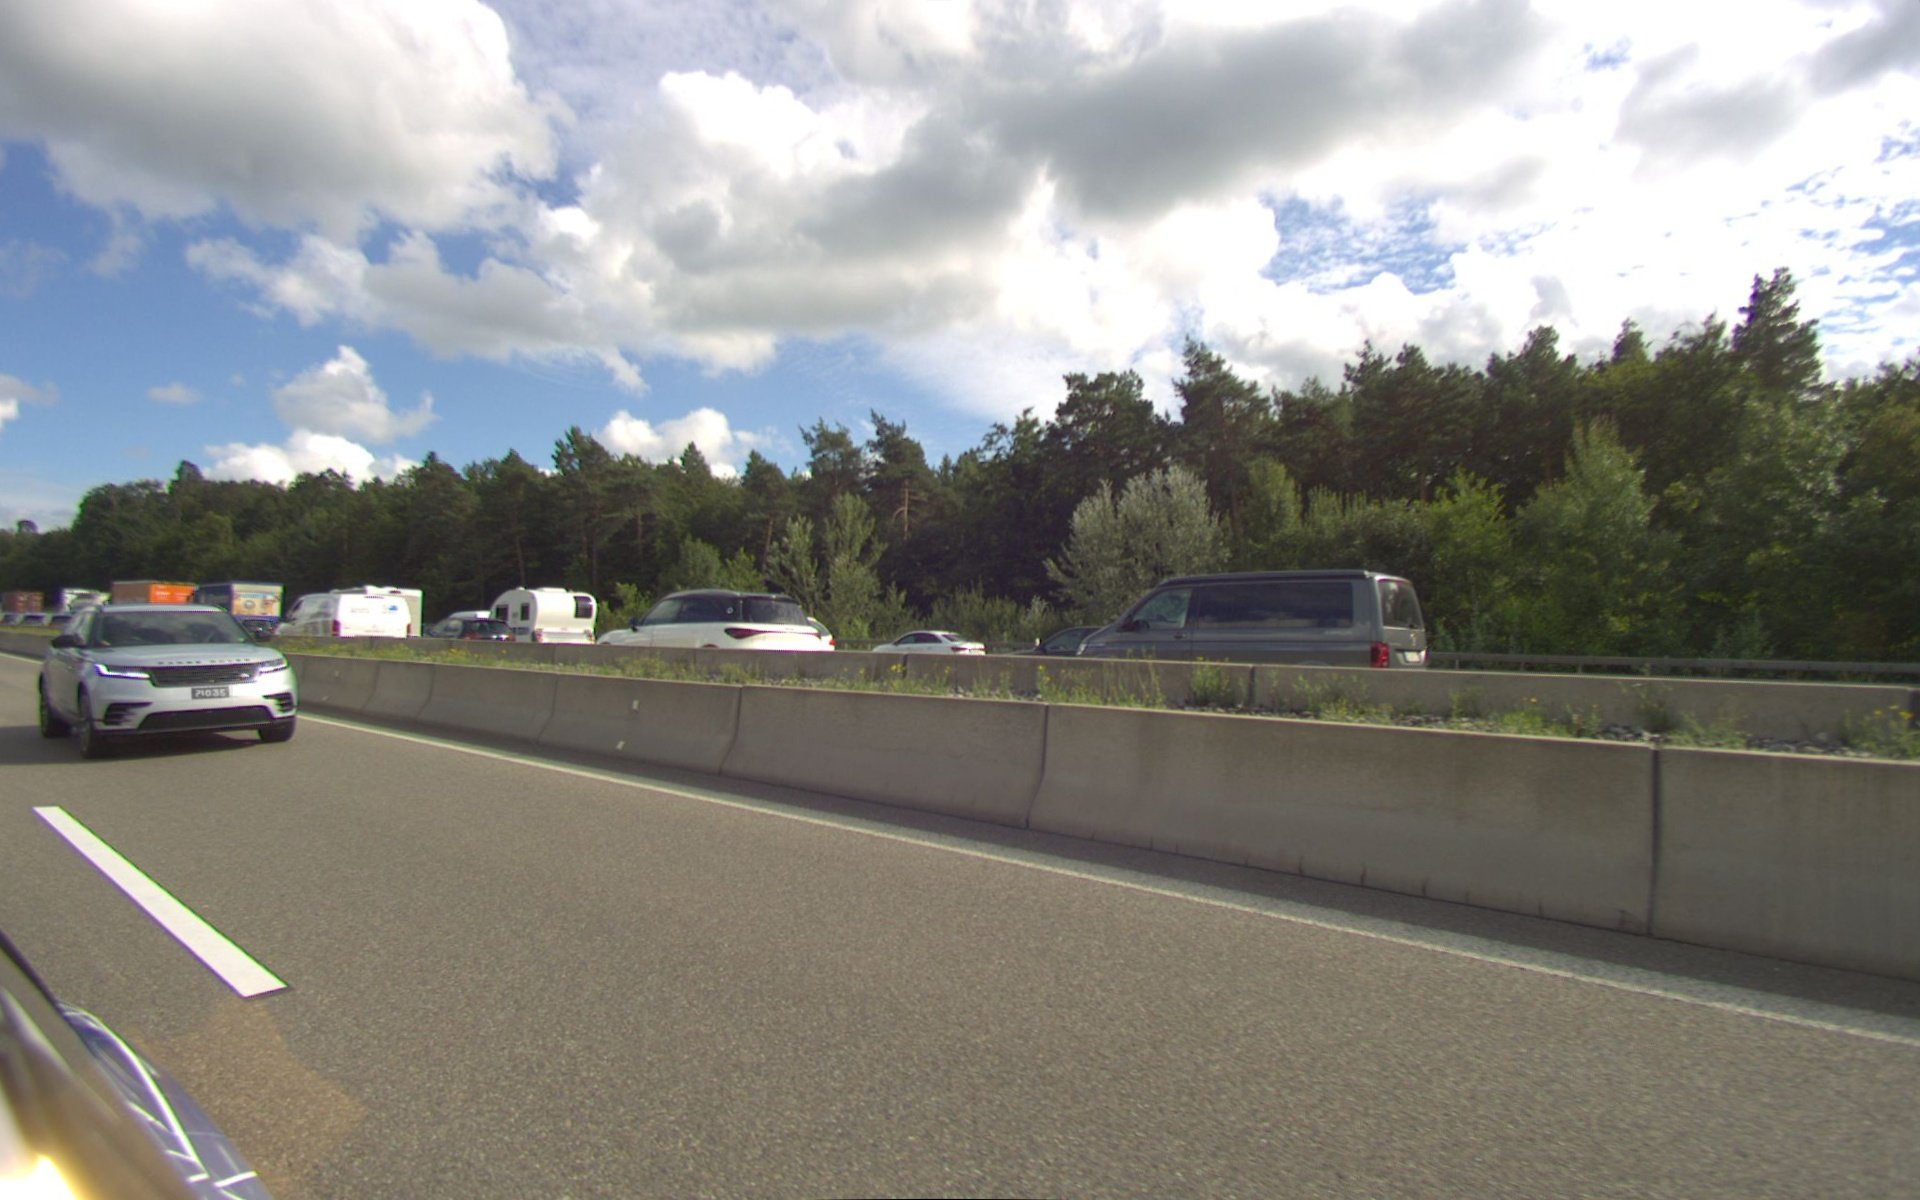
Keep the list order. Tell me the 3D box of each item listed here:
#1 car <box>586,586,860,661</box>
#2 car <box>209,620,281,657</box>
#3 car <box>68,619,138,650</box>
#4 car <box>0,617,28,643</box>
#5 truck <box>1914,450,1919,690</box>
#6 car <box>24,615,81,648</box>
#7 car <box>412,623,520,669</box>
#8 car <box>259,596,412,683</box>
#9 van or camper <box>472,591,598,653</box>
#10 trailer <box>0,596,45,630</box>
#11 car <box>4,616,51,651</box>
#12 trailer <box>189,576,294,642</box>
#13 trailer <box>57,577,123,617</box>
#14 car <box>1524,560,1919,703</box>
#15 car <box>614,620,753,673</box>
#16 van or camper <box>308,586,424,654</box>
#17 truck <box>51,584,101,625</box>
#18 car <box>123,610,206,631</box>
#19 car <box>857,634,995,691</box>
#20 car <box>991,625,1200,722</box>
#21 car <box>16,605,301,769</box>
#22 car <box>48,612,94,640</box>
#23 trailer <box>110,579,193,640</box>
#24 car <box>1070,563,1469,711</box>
[{"bbox_3d":[-3.609,0.328,14.914,4.486,0.947,1.626,-1,0,41],"label":"car"},{"bbox_3d":[-33.815,1.781,47.816,4.269,1.672,1.813,-1,-1,41],"label":"car"},{"bbox_3d":[-41.066,1.611,48.459,4.900,1.398,1.813,-1,-1,41],"label":"car"},{"bbox_3d":[-69.970,2.171,74.268,4.900,1.896,1.798,-1,-1,41],"label":"car"},{"bbox_3d":[14.431,-0.005,10.178,6.798,3.930,3.381,-1,-1,41],"label":"truck"},{"bbox_3d":[-51.132,1.764,56.985,4.627,1.777,1.798,-1,-1,41],"label":"car"},{"bbox_3d":[-14.849,1.336,30.378,3.588,1.266,1.646,-1,0,41],"label":"car"},{"bbox_3d":[-16.468,1.001,26.562,5.497,2.078,1.813,-1,-2,41],"label":"car"},{"bbox_3d":[-14.939,0.740,35.497,4.686,2.026,2.259,-1,0,41],"label":"van or camper"},{"bbox_3d":[-114.974,1.551,123.916,12.886,4.013,2.919,0,0,41],"label":"trailer"},{"bbox_3d":[-59.294,2.094,64.318,4.681,2.029,1.725,0,0,42],"label":"car"},{"bbox_3d":[-43.259,0.515,60.748,10.215,3.686,2.857,0,-1,41],"label":"trailer"},{"bbox_3d":[-80.020,-0.233,92.955,12.226,3.524,2.919,0,0,41],"label":"trailer"},{"bbox_3d":[8.303,0.283,9.937,4.564,1.240,1.813,-1,-1,41],"label":"car"},{"bbox_3d":[-8.034,1.291,29.177,4.432,1.401,1.682,-1,0,41],"label":"car"},{"bbox_3d":[-27.547,0.801,46.791,7.480,2.911,2.444,1,1,42],"label":"van or camper"},{"bbox_3d":[-85.176,0.457,97.487,5.106,3.775,2.926,-1,-1,41],"label":"truck"},{"bbox_3d":[-29.680,0.745,37.706,4.445,0.730,1.630,-1,-1,41],"label":"car"},{"bbox_3d":[-1.170,1.983,33.308,4.479,1.668,1.813,-1,-1,41],"label":"car"},{"bbox_3d":[2.612,1.360,19.949,3.696,1.668,1.813,-1,0,41],"label":"car"},{"bbox_3d":[-9.960,0.909,12.404,5.103,1.619,1.880,-2,-1,41],"label":"car"},{"bbox_3d":[-66.695,1.911,75.930,4.988,1.974,1.973,0,0,41],"label":"car"},{"bbox_3d":[-61.494,0.662,76.790,13.171,4.352,2.612,0,1,41],"label":"trailer"},{"bbox_3d":[4.033,0.443,13.719,4.780,1.668,1.987,-1,0,41],"label":"car"}]
